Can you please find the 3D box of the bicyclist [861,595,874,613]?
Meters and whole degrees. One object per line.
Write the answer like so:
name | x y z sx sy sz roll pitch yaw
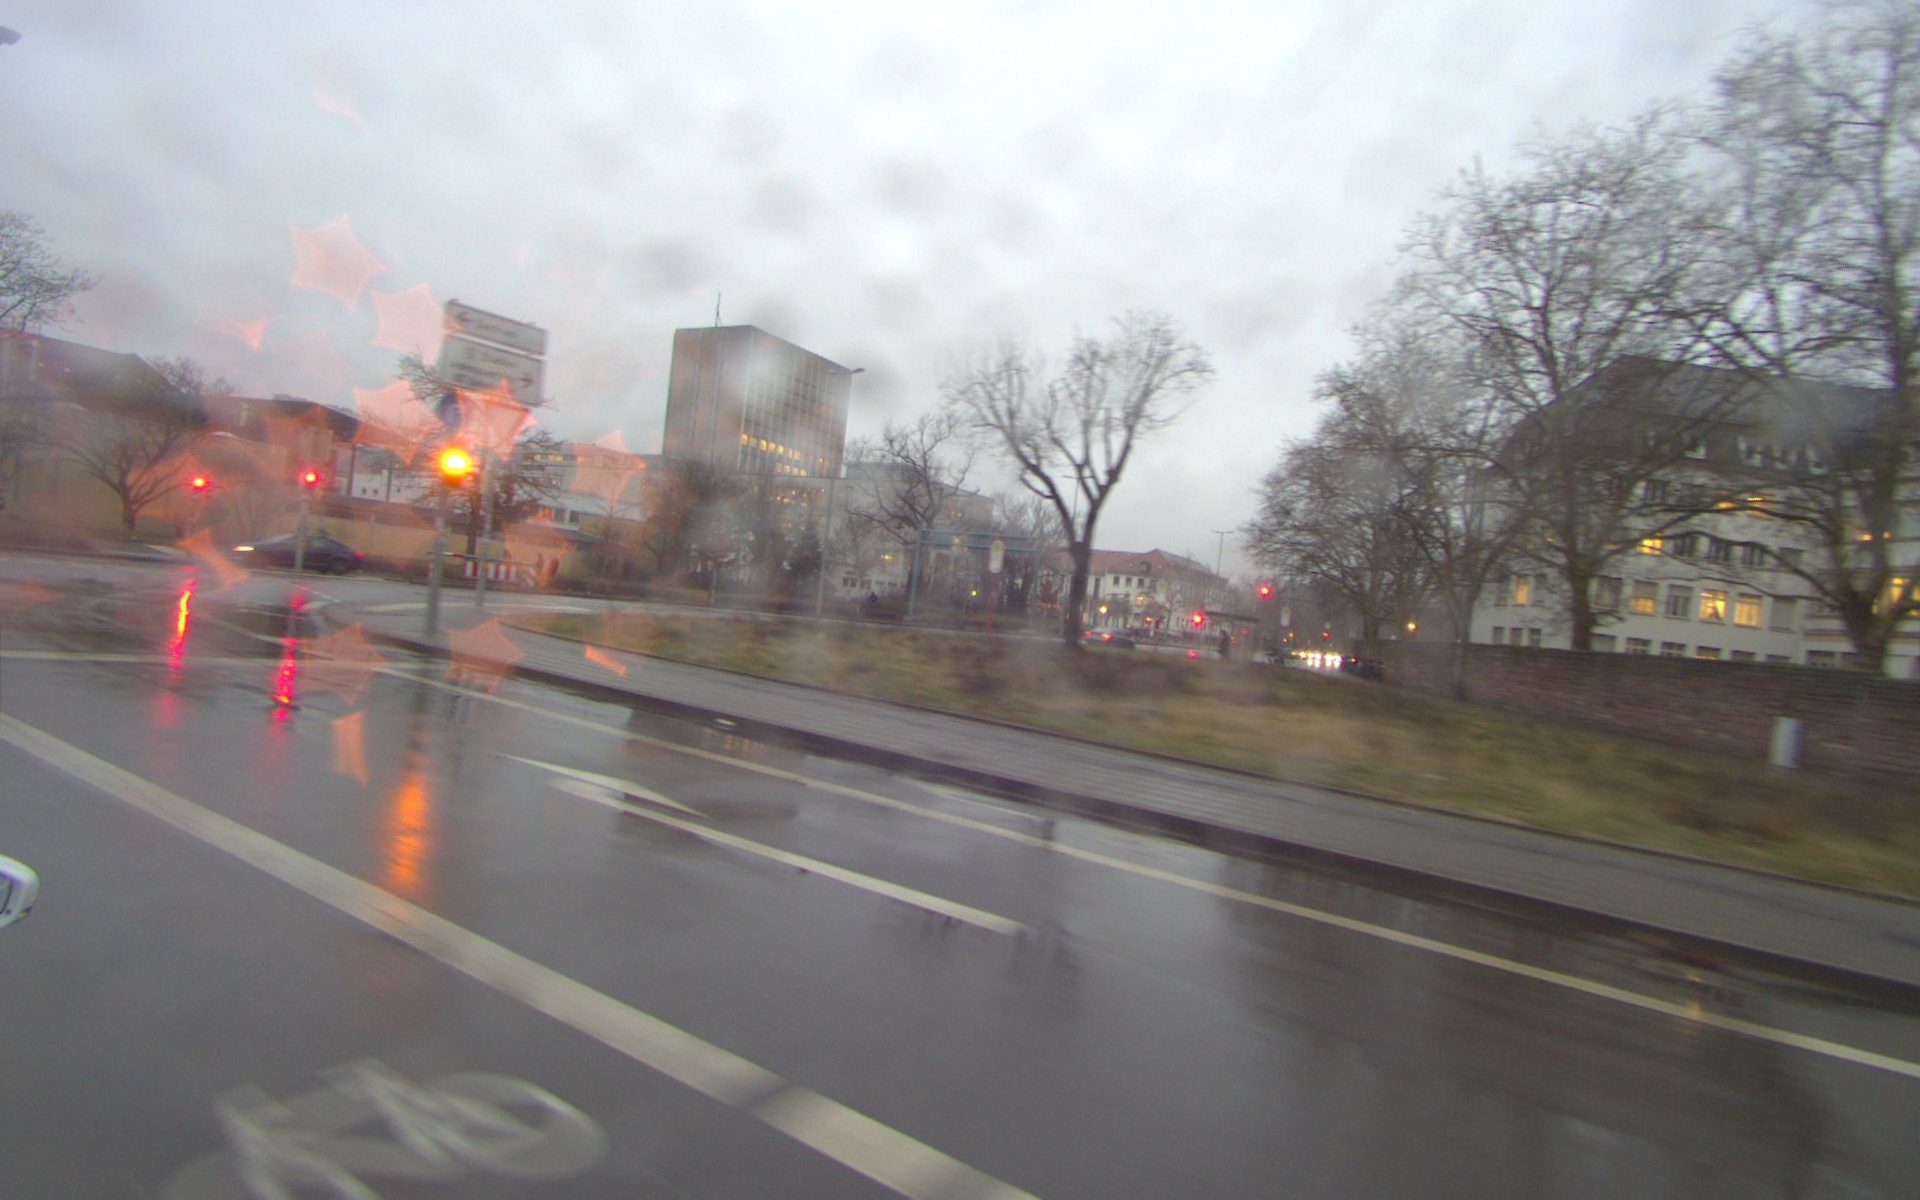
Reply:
bicyclist | -7.296 0.312 79.548 0.599 1.261 0.698 5 -2 40

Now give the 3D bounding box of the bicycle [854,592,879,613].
bicycle | -7.370 0.178 79.440 0.584 1.439 1.922 5 -2 40

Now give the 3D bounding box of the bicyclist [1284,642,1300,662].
bicyclist | 19.722 3.102 59.787 0.690 1.092 0.494 5 -2 32

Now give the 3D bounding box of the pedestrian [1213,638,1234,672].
pedestrian | 15.247 3.198 58.146 0.823 1.857 0.667 5 -2 34

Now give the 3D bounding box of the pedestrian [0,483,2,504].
pedestrian | -37.191 -3.603 38.619 0.435 1.860 0.455 7 -2 -40

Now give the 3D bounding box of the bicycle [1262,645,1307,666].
bicycle | 19.155 3.280 59.389 2.373 1.003 0.479 5 -2 31

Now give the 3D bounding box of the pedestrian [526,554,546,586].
pedestrian | -24.240 -1.731 57.552 0.749 1.745 0.623 5 -2 38

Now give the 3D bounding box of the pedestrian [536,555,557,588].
pedestrian | -23.278 -1.608 56.655 0.749 1.745 0.623 5 -2 38

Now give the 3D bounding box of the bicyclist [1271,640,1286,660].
bicyclist | 18.872 2.987 59.639 0.690 1.092 0.494 5 -2 32

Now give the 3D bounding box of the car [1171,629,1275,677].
car | 7.340 1.479 27.990 2.656 0.989 1.290 7 1 -34

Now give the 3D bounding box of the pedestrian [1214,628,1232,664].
pedestrian | 14.057 2.476 53.783 0.633 1.857 0.836 5 -1 23

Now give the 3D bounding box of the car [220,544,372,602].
car | -25.165 -0.995 38.247 1.943 1.598 4.424 4 -3 44

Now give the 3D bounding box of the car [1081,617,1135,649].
car | 9.534 2.117 64.502 1.861 1.670 3.636 5 -3 35

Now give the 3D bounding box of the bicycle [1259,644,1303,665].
bicycle | 19.168 3.269 60.135 2.373 1.003 0.537 5 -2 31
